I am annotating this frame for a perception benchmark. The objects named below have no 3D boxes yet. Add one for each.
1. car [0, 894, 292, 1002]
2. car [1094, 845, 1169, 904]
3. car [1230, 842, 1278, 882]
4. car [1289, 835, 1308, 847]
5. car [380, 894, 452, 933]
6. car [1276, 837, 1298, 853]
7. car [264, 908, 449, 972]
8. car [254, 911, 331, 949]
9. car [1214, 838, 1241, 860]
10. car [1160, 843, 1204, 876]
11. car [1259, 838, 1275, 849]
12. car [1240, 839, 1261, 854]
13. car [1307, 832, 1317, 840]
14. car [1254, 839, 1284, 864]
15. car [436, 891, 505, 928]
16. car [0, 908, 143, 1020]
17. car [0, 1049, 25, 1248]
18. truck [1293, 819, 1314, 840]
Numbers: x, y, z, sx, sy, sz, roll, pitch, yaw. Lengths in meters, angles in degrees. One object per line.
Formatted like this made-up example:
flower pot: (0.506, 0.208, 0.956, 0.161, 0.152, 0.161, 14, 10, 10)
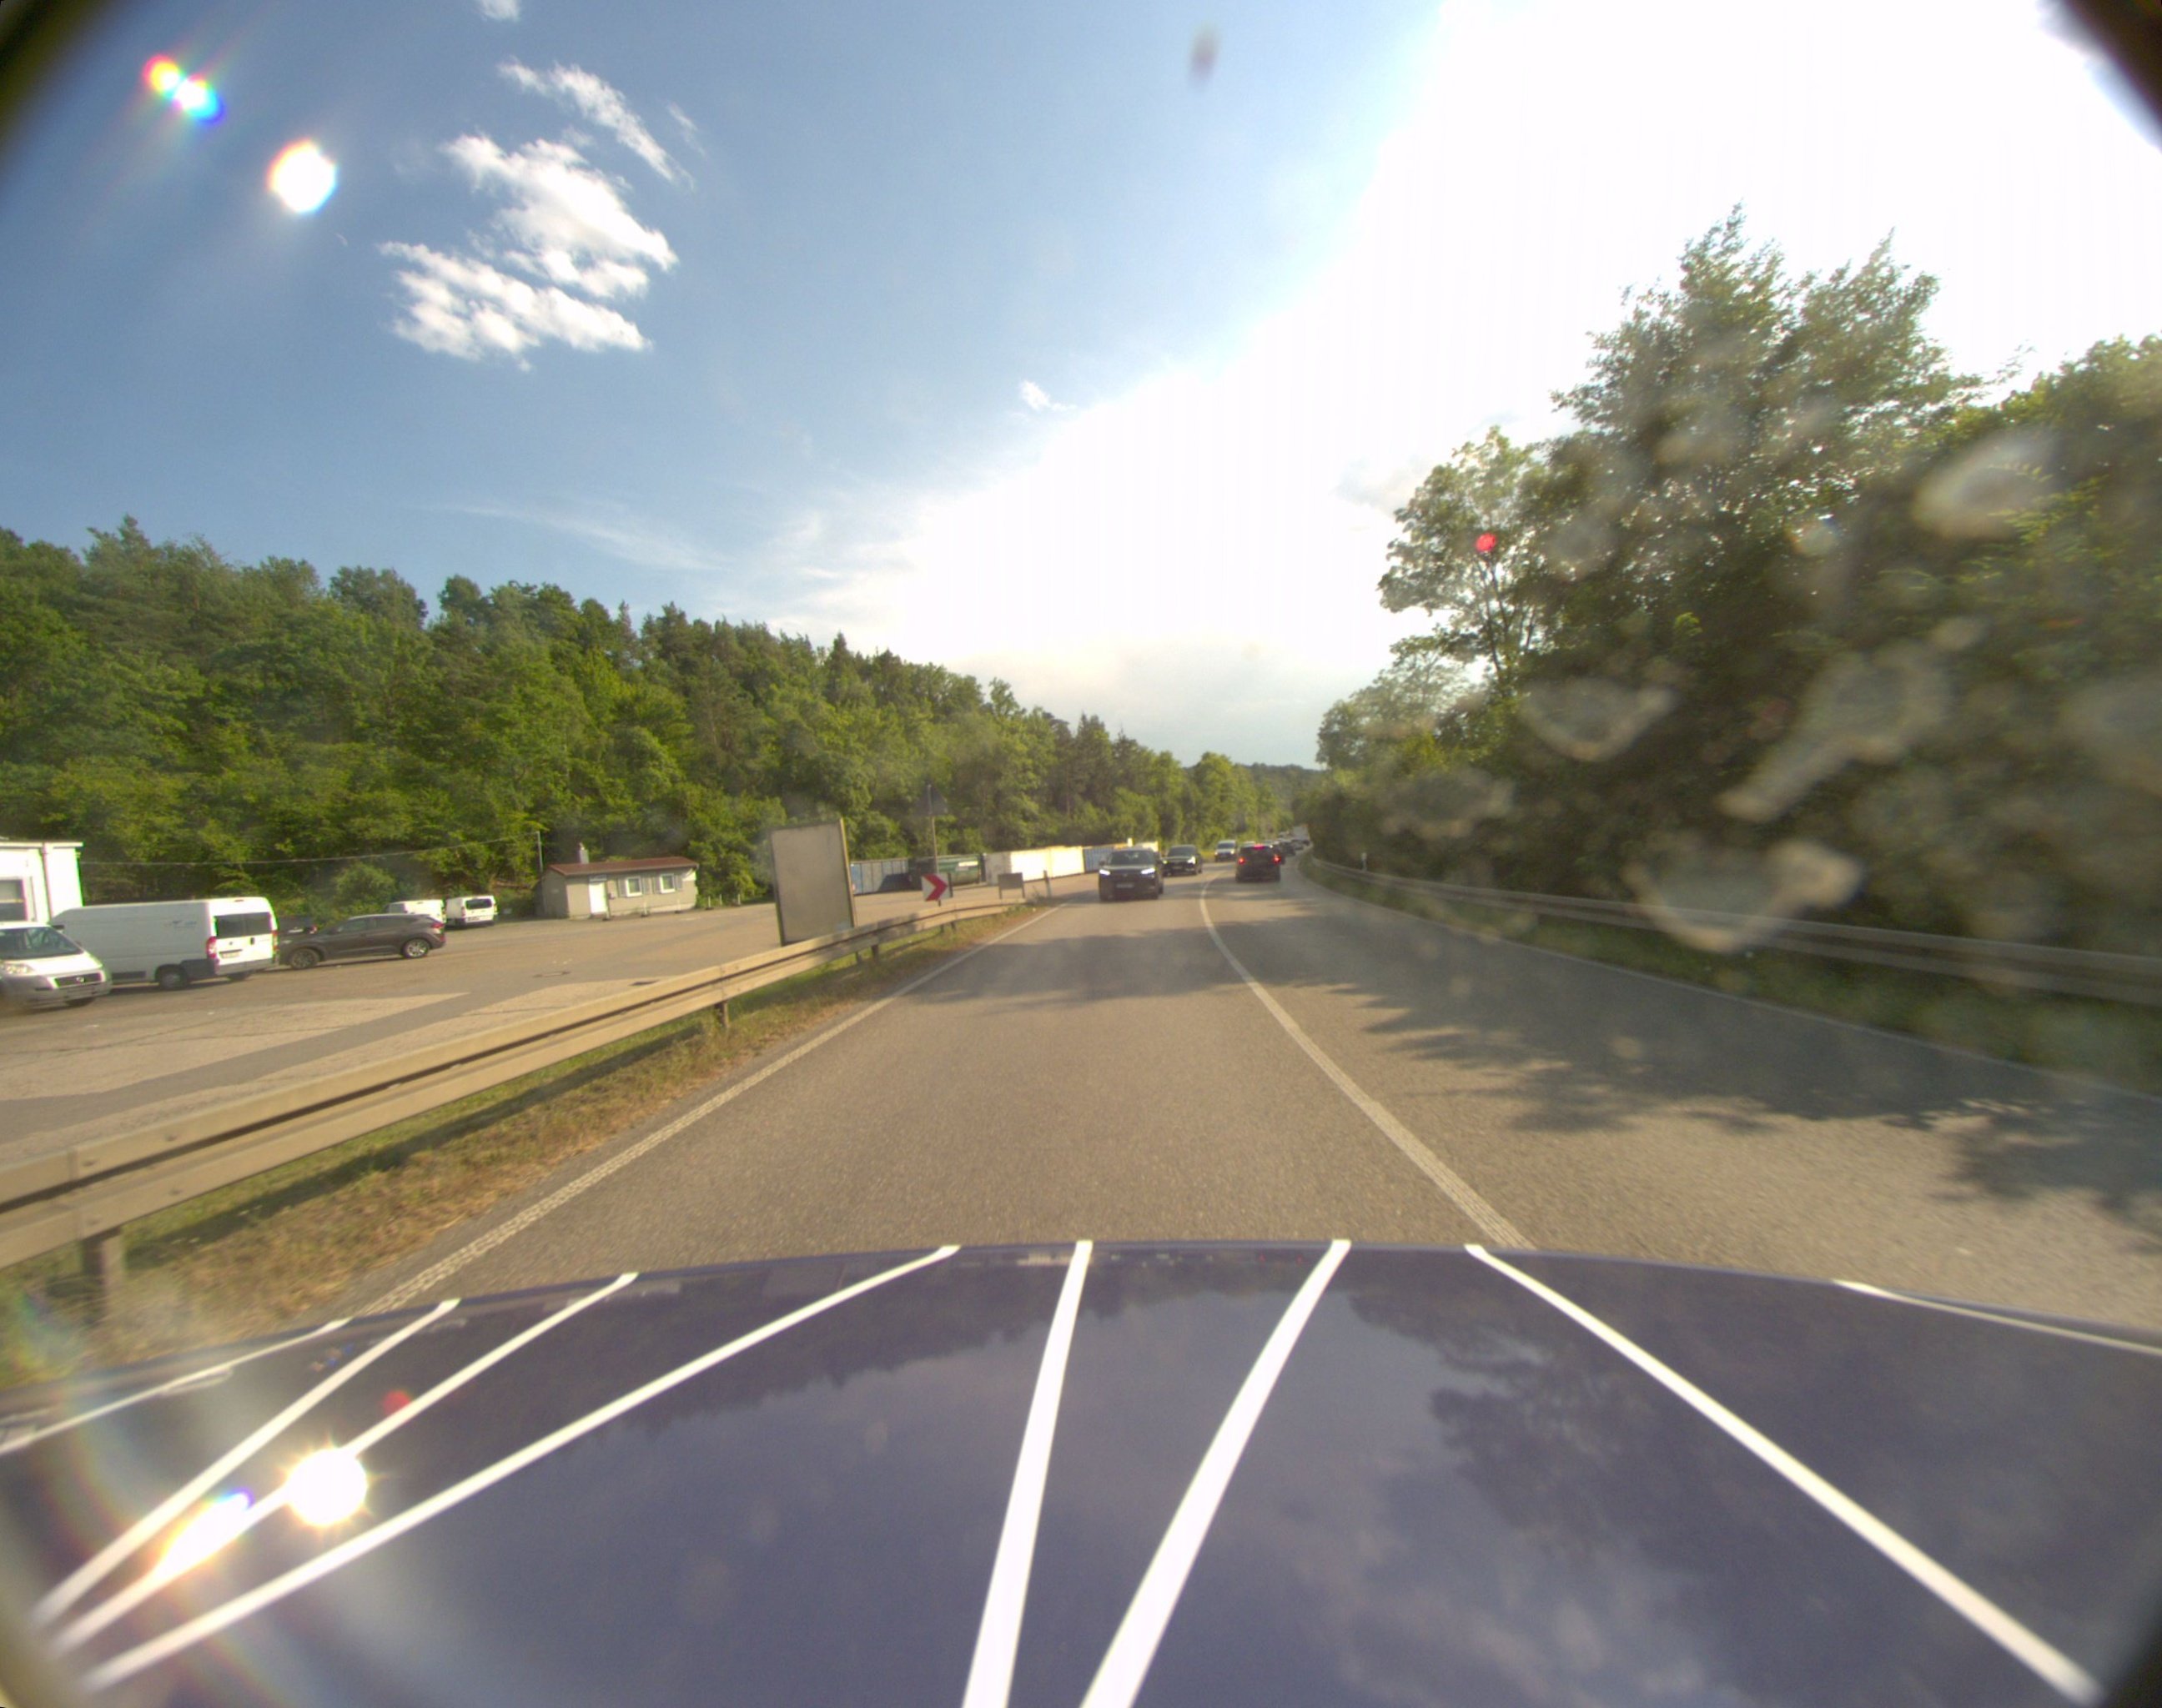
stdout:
car: (-26.118, 2.541, 21.411, 4.923, 2.435, 2.206, -3, 1, -9)
car: (1.760, 0.602, 25.143, 1.858, 1.631, 4.444, -3, 1, 11)
car: (7.576, 0.312, 33.237, 1.870, 1.580, 4.252, -1, 1, 13)
car: (26.707, -1.615, 93.225, 1.794, 1.437, 3.798, -2, 1, 20)
car: (-39.252, 3.515, 44.836, 4.087, 2.002, 2.003, -4, 1, 32)
car: (19.443, -0.870, 71.695, 1.662, 1.437, 3.926, -2, 1, 19)
car: (-24.699, 2.870, 26.035, 1.938, 1.659, 4.413, -4, -1, 43)
car: (-42.006, 3.979, 40.441, 4.545, 1.664, 2.000, -2, 2, 34)
car: (12.759, -0.487, 66.111, 1.866, 1.710, 4.768, -4, 0, 15)
car: (5.567, 0.270, 41.349, 1.847, 1.561, 4.261, -2, 1, 14)
car: (27.510, -1.626, 112.323, 1.857, 1.412, 4.424, -5, 0, 20)
car: (19.545, -0.876, 87.392, 1.894, 1.437, 4.480, -5, 0, 18)
car: (45.222, -3.480, 148.887, 1.794, 1.437, 3.798, -2, 1, 16)
car: (12.949, -0.203, 52.191, 1.853, 1.499, 4.407, -1, 2, 15)
car: (-37.755, 3.417, 46.952, 4.548, 2.002, 2.003, -4, 1, 36)
car: (-26.178, 2.636, 17.565, 5.490, 2.261, 2.294, -3, 1, -7)
car: (-8.494, 2.115, 3.244, 1.828, 1.345, 4.273, -4, 0, 3)
truck: (34.212, -3.726, 116.731, 2.459, 3.055, 6.272, -2, 1, 20)
